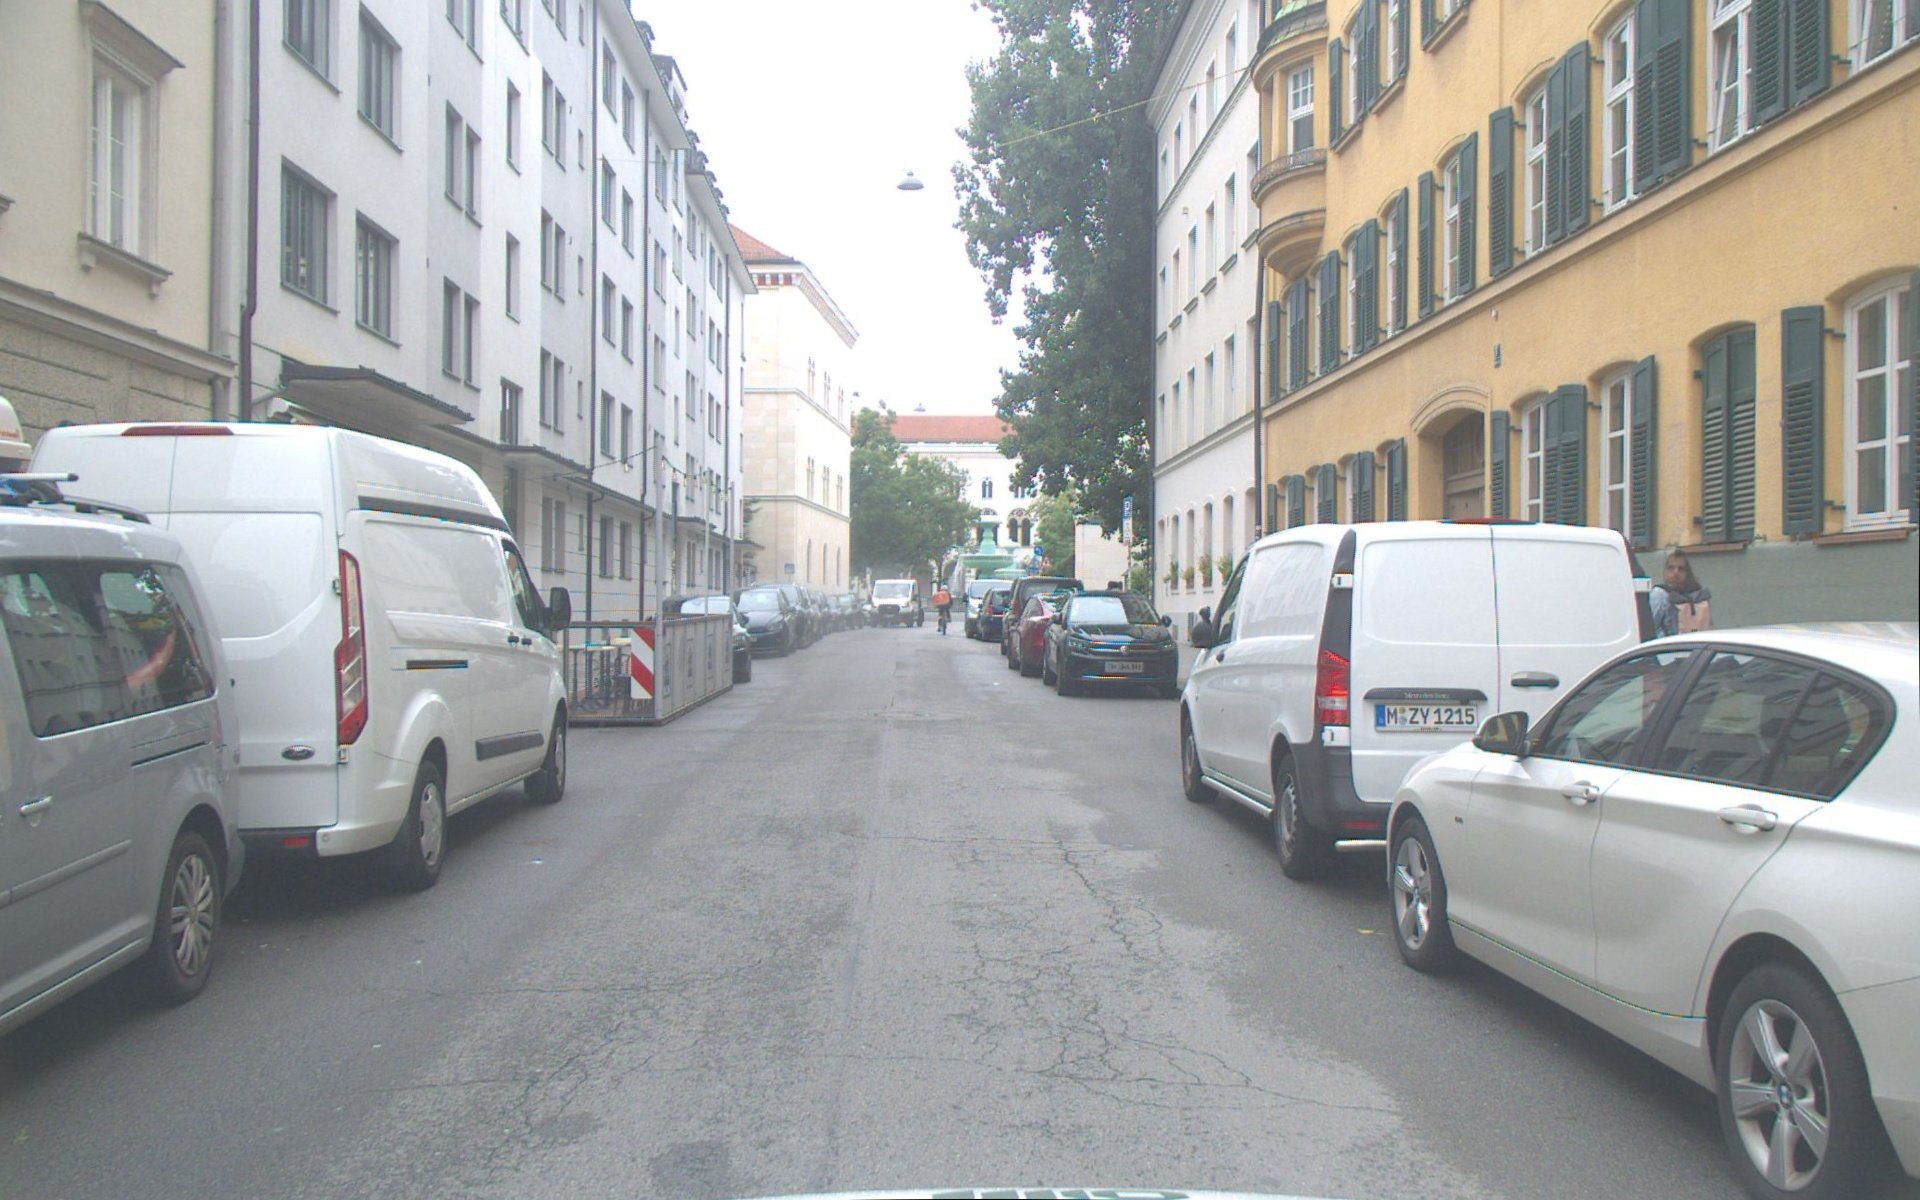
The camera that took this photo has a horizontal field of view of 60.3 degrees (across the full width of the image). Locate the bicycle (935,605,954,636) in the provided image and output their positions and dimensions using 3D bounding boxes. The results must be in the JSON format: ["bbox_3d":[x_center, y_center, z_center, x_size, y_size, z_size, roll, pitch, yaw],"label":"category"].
[{"bbox_3d":[-0.561,0.752,60.186,0.662,1.114,1.760,-1,-1,-1],"label":"bicycle"}]

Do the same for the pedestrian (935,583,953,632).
[{"bbox_3d":[-0.576,0.276,60.201,0.629,1.744,0.842,-1,-1,-1],"label":"pedestrian"}]

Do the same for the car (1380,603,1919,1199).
[{"bbox_3d":[2.814,0.739,5.238,1.674,1.417,4.203,0,0,-4],"label":"car"}]

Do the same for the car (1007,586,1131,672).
[{"bbox_3d":[1.930,0.486,30.442,1.776,1.449,4.244,1,0,-3],"label":"car"}]

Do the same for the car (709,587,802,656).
[{"bbox_3d":[-4.661,0.463,38.125,1.781,1.469,3.816,-2,0,-2],"label":"car"}]

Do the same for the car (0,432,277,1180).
[{"bbox_3d":[-3.467,0.560,4.456,1.720,2.030,4.620,0,0,-6],"label":"car"}]

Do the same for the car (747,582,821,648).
[{"bbox_3d":[-4.630,0.370,43.944,1.672,1.637,3.861,-1,0,-2],"label":"car"}]

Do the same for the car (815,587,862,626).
[{"bbox_3d":[-5.245,0.262,71.814,1.671,1.637,3.863,-1,0,1],"label":"car"}]

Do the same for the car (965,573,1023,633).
[{"bbox_3d":[1.149,0.090,57.327,1.814,1.953,4.768,-1,0,-1],"label":"car"}]

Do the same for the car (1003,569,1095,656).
[{"bbox_3d":[1.962,0.261,37.459,1.775,1.829,4.246,1,0,-1],"label":"car"}]

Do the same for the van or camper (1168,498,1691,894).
[{"bbox_3d":[2.594,0.441,10.532,1.796,1.904,5.078,0,0,-1],"label":"van or camper"}]

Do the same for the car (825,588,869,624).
[{"bbox_3d":[-5.285,0.281,77.750,1.671,1.608,3.863,-1,0,1],"label":"car"}]

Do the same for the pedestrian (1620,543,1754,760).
[{"bbox_3d":[5.623,0.389,12.816,0.647,1.599,0.642,-3,-1,-2],"label":"pedestrian"}]

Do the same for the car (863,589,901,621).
[{"bbox_3d":[-4.044,0.242,86.406,1.671,1.608,3.863,-1,0,1],"label":"car"}]

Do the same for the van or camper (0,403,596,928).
[{"bbox_3d":[-3.541,0.272,9.990,1.719,2.321,5.271,0,0,-2],"label":"van or camper"}]

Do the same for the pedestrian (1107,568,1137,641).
[{"bbox_3d":[4.558,0.132,46.614,0.656,2.015,0.708,-4,-1,-1],"label":"pedestrian"}]

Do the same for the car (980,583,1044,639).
[{"bbox_3d":[1.570,0.309,51.300,1.775,1.642,4.155,-1,0,-1],"label":"car"}]

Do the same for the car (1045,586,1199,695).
[{"bbox_3d":[2.355,0.557,25.035,1.775,1.490,4.245,1,0,-2],"label":"car"}]

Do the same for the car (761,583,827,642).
[{"bbox_3d":[-4.896,0.353,49.191,1.672,1.637,3.861,-1,0,-2],"label":"car"}]

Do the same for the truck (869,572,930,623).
[{"bbox_3d":[-2.835,-0.086,78.803,2.076,2.286,6.189,-1,-1,5],"label":"truck"}]

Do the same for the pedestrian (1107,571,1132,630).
[{"bbox_3d":[5.531,0.021,57.420,0.656,2.015,0.708,-4,-1,-1],"label":"pedestrian"}]

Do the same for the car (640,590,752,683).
[{"bbox_3d":[-4.522,0.581,28.445,1.729,1.435,4.147,-2,0,-9],"label":"car"}]
